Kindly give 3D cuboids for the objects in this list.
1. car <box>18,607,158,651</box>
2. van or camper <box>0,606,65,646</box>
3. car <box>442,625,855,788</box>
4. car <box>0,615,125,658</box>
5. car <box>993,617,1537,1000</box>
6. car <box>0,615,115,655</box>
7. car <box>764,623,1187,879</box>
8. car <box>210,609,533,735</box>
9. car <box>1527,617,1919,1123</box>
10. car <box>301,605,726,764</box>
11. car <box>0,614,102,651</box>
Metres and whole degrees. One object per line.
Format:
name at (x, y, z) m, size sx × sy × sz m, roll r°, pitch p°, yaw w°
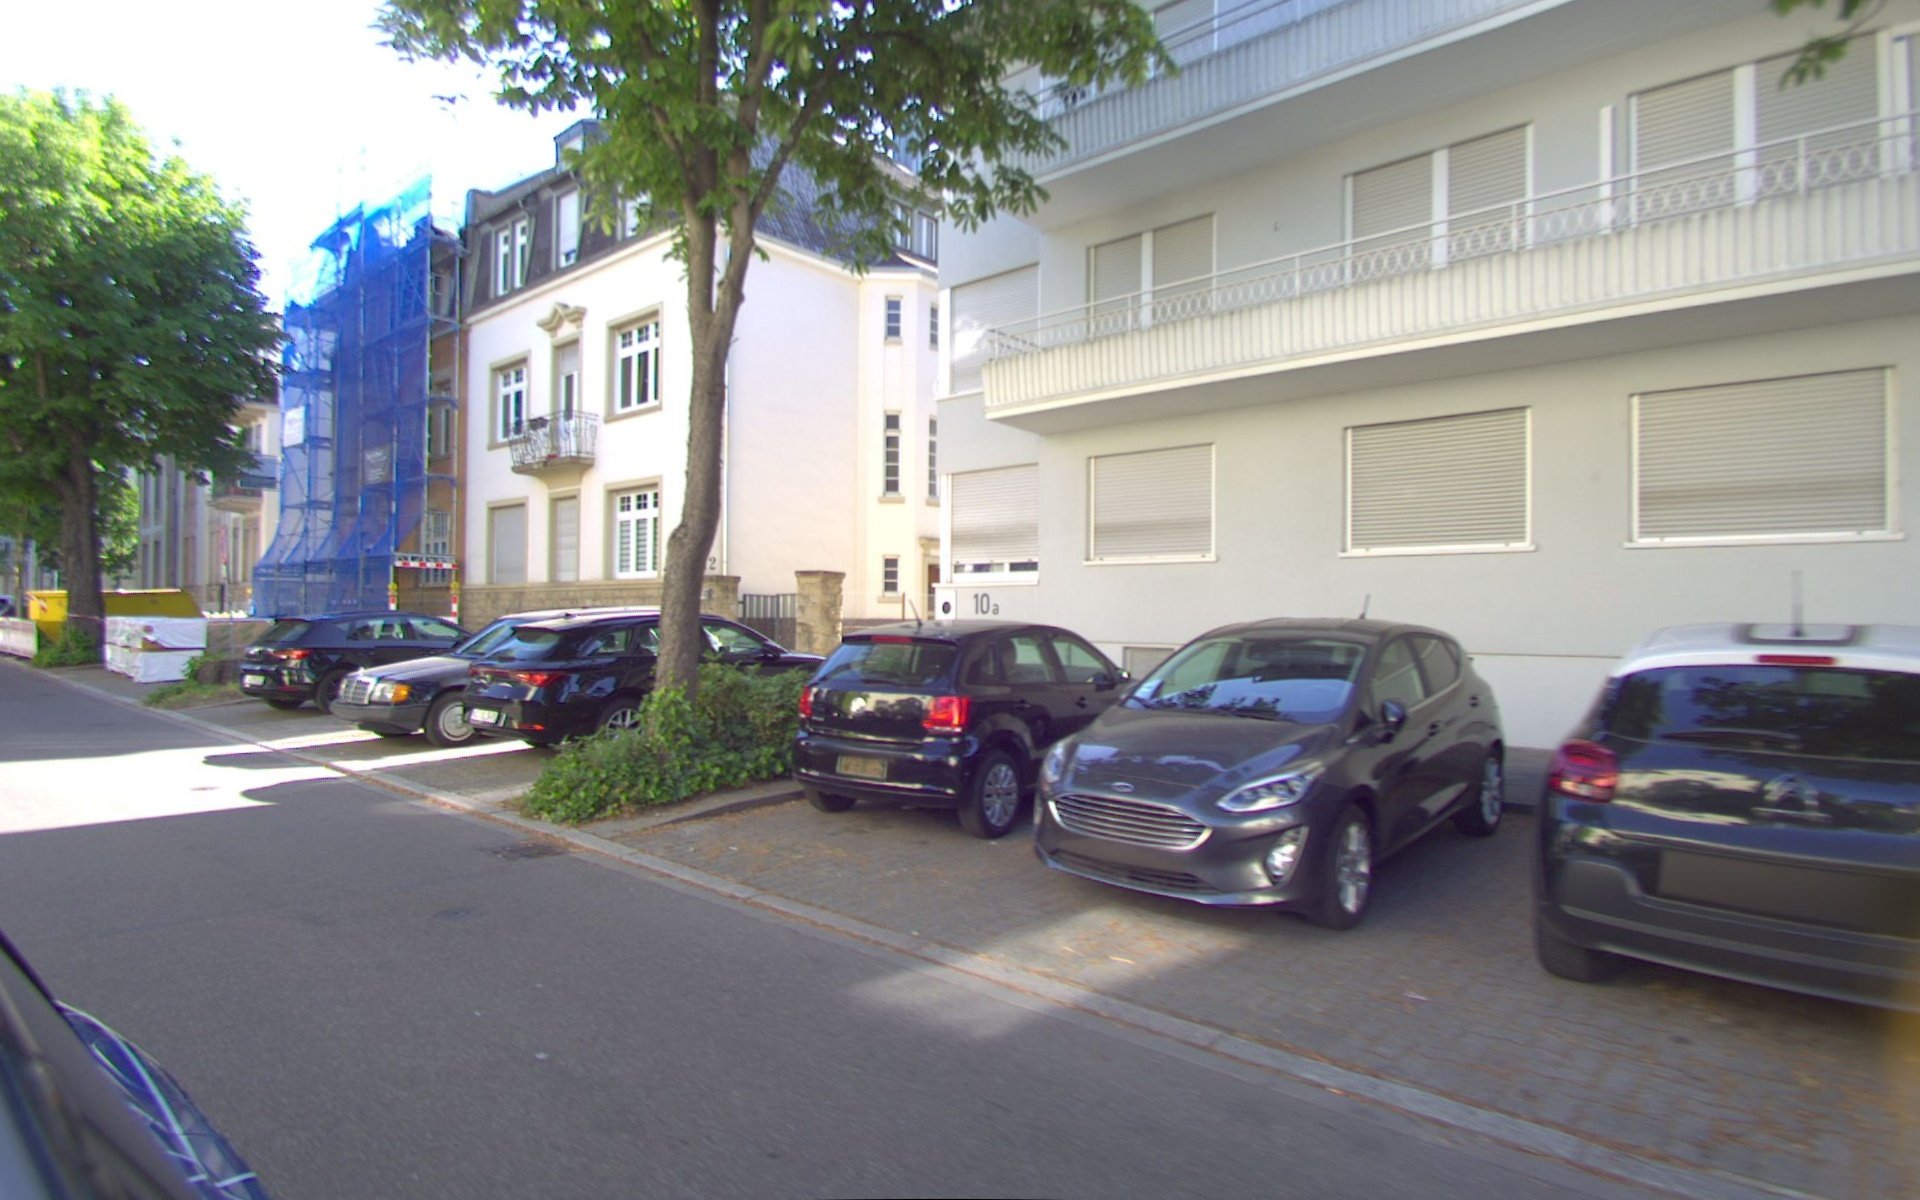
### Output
car at (-30.580, 1.038, 35.562) m, size 1.695 × 1.459 × 3.512 m, roll -1°, pitch -3°, yaw 42°
van or camper at (-43.508, 1.196, 46.072) m, size 1.808 × 1.787 × 3.903 m, roll -2°, pitch -2°, yaw 40°
car at (-3.255, 1.010, 11.273) m, size 1.711 × 1.452 × 4.145 m, roll -1°, pitch -1°, yaw 40°
car at (-33.140, 1.356, 37.064) m, size 1.714 × 1.476 × 3.686 m, roll -2°, pitch -4°, yaw 42°
car at (2.016, 0.882, 6.034) m, size 1.710 × 1.474 × 3.604 m, roll 0°, pitch 0°, yaw 43°
car at (-35.025, 1.356, 38.862) m, size 1.645 × 1.442 × 3.708 m, roll -1°, pitch -3°, yaw 41°
car at (0.306, 0.953, 8.015) m, size 1.707 × 1.431 × 3.447 m, roll 0°, pitch 1°, yaw 36°
car at (-8.789, 0.967, 15.429) m, size 1.827 × 1.525 × 3.841 m, roll 0°, pitch 1°, yaw 32°
car at (3.951, 0.854, 4.500) m, size 1.797 × 1.469 × 3.441 m, roll 0°, pitch 0°, yaw 42°
car at (-5.344, 0.914, 12.690) m, size 1.831 × 1.619 × 4.544 m, roll -1°, pitch -2°, yaw 39°
car at (-37.008, 1.292, 40.333) m, size 1.709 × 1.411 × 4.097 m, roll -1°, pitch -1°, yaw 41°
